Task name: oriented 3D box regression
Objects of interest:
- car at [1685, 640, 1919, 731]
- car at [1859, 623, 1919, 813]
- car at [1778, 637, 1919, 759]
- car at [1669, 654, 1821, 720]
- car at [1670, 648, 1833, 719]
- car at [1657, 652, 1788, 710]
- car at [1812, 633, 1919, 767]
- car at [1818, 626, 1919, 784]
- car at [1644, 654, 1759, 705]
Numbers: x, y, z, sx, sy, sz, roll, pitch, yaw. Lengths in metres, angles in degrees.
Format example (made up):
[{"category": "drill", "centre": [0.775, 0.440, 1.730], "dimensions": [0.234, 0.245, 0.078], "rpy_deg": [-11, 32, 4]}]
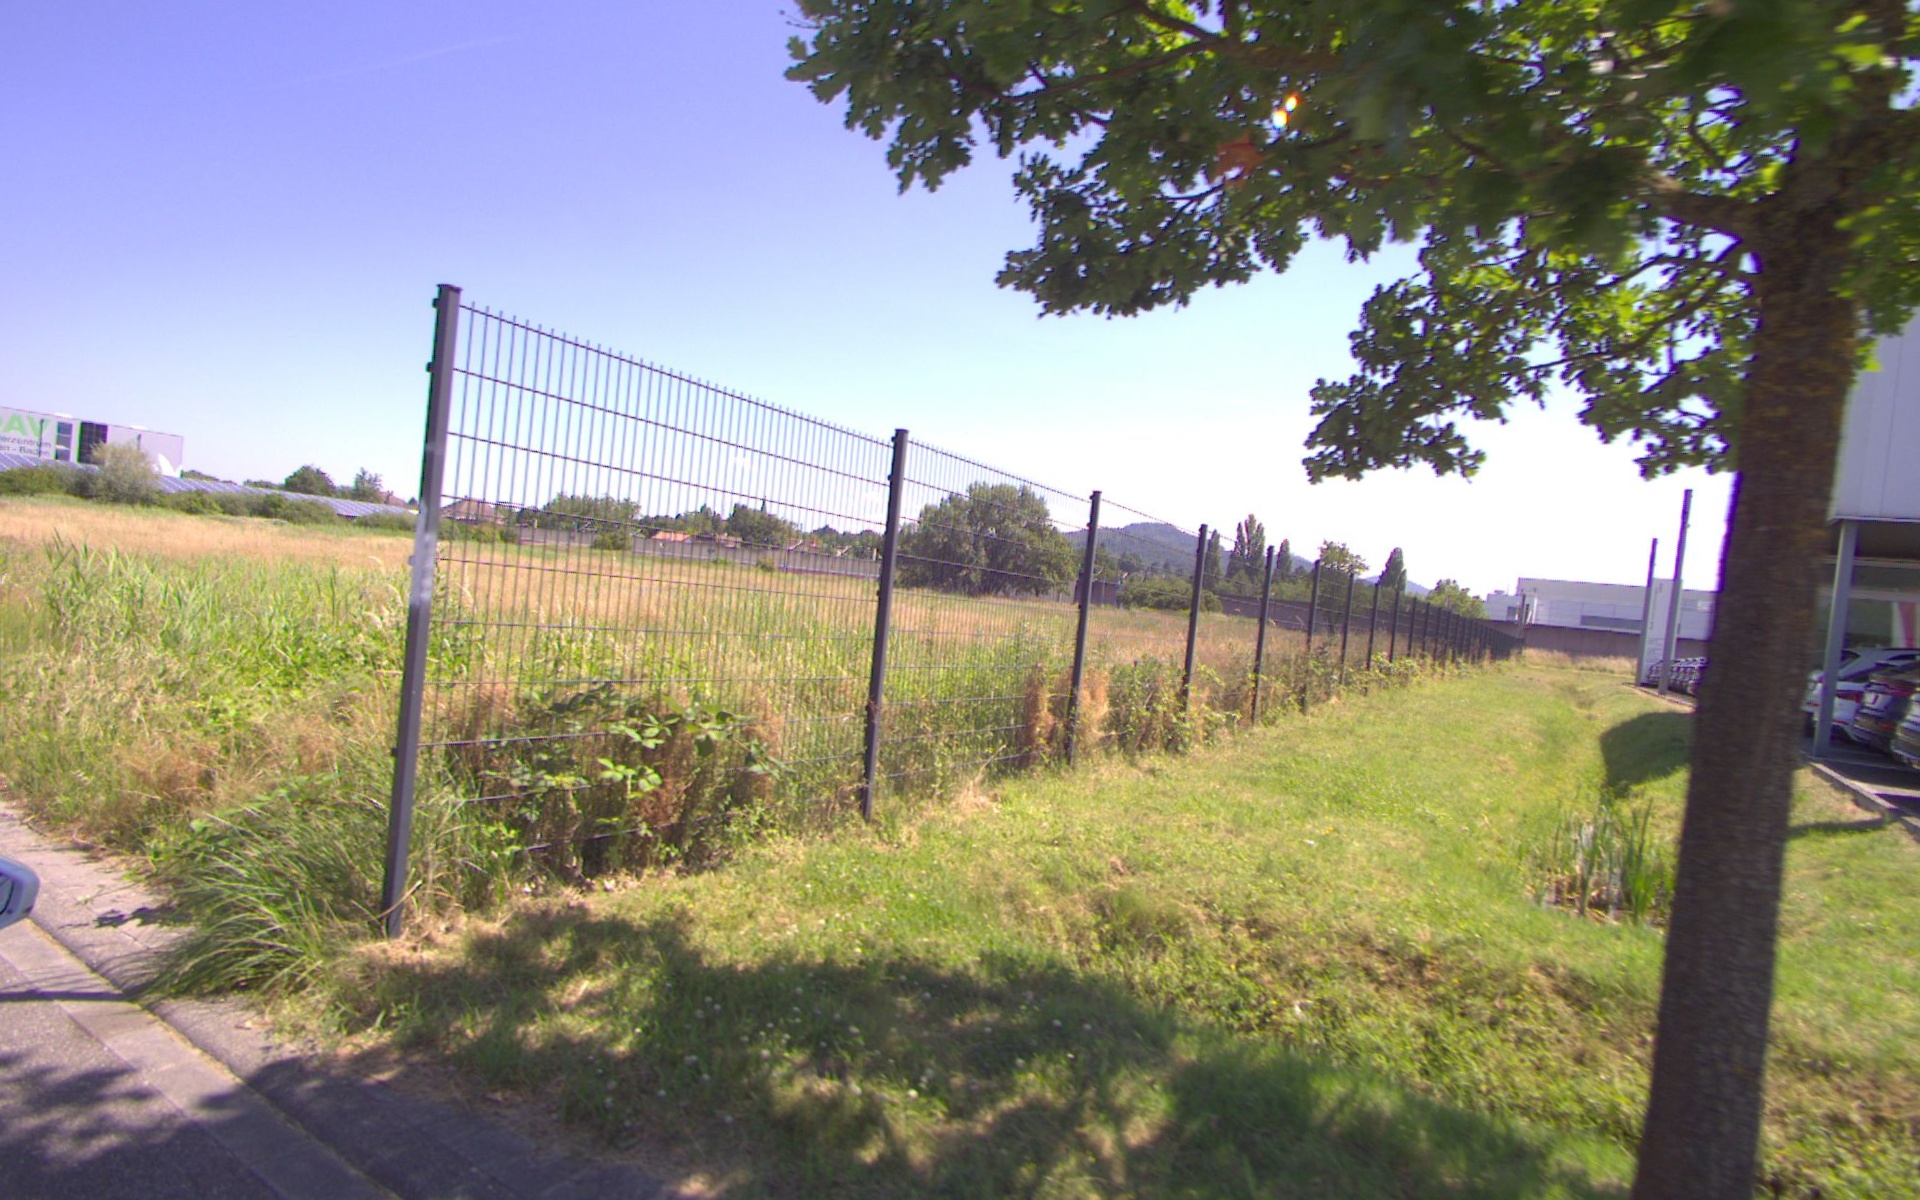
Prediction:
[{"category": "car", "centre": [22.790, 2.238, 27.372], "dimensions": [4.731, 1.748, 2.024], "rpy_deg": [7, 2, 33]}, {"category": "car", "centre": [11.281, 1.328, 8.759], "dimensions": [4.731, 1.748, 2.024], "rpy_deg": [7, 2, 33]}, {"category": "car", "centre": [15.784, 1.670, 15.383], "dimensions": [4.731, 1.676, 2.024], "rpy_deg": [7, 2, 33]}, {"category": "car", "centre": [28.013, 3.059, 36.077], "dimensions": [3.934, 1.808, 1.995], "rpy_deg": [6, 1, 32]}, {"category": "car", "centre": [26.506, 2.765, 33.873], "dimensions": [3.934, 1.808, 1.995], "rpy_deg": [6, 1, 32]}, {"category": "car", "centre": [31.231, 3.282, 41.375], "dimensions": [3.934, 1.808, 1.995], "rpy_deg": [6, 1, 32]}, {"category": "car", "centre": [14.438, 1.530, 13.091], "dimensions": [4.731, 1.676, 2.024], "rpy_deg": [7, 2, 33]}, {"category": "car", "centre": [12.804, 1.404, 11.066], "dimensions": [4.731, 1.702, 2.024], "rpy_deg": [7, 2, 33]}, {"category": "car", "centre": [33.983, 3.613, 46.257], "dimensions": [3.934, 1.808, 1.995], "rpy_deg": [6, 1, 32]}]
